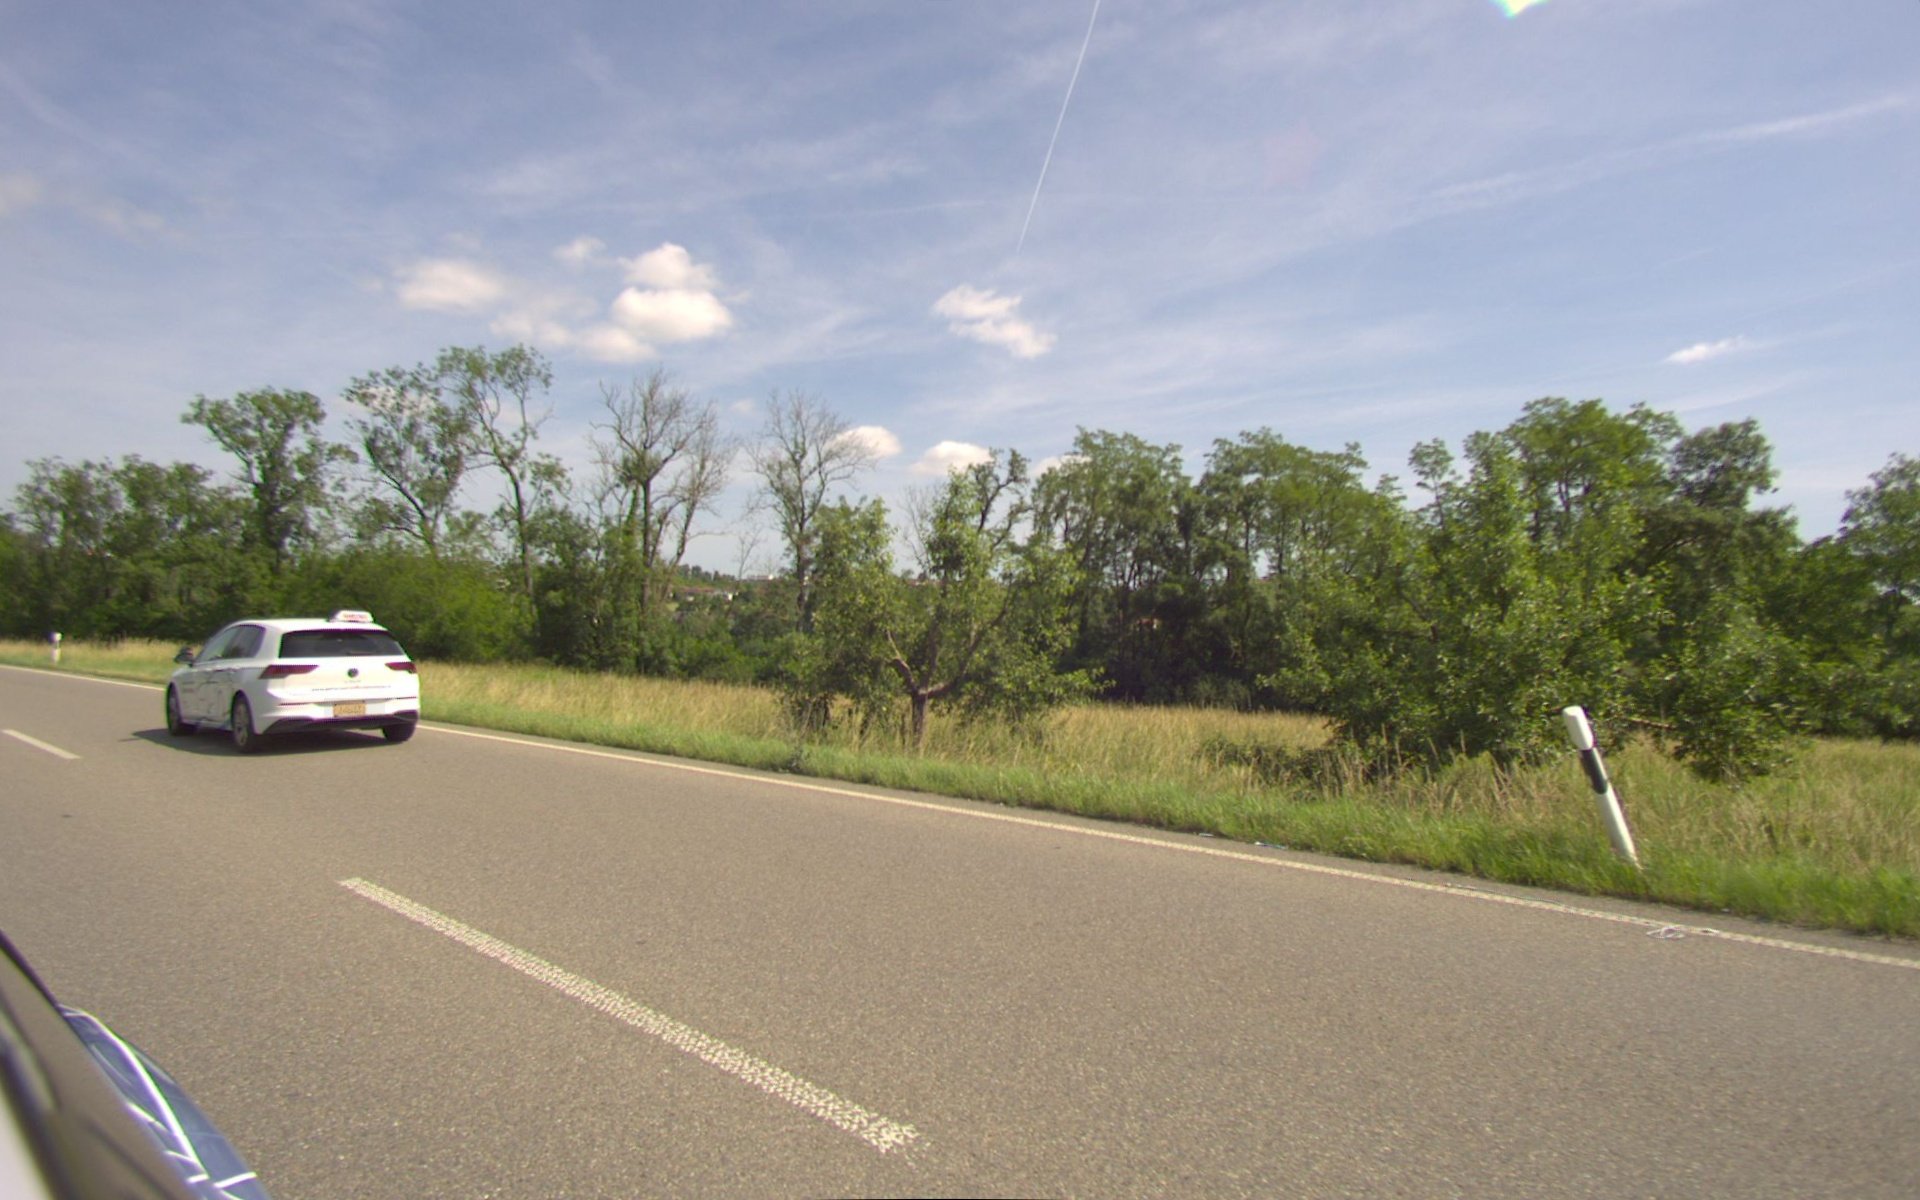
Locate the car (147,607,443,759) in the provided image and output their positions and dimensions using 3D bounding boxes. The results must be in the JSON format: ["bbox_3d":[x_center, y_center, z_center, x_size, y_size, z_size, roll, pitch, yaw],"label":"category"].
[{"bbox_3d":[-8.106,0.893,12.207,4.155,1.533,1.773,-1,-2,39],"label":"car"}]
